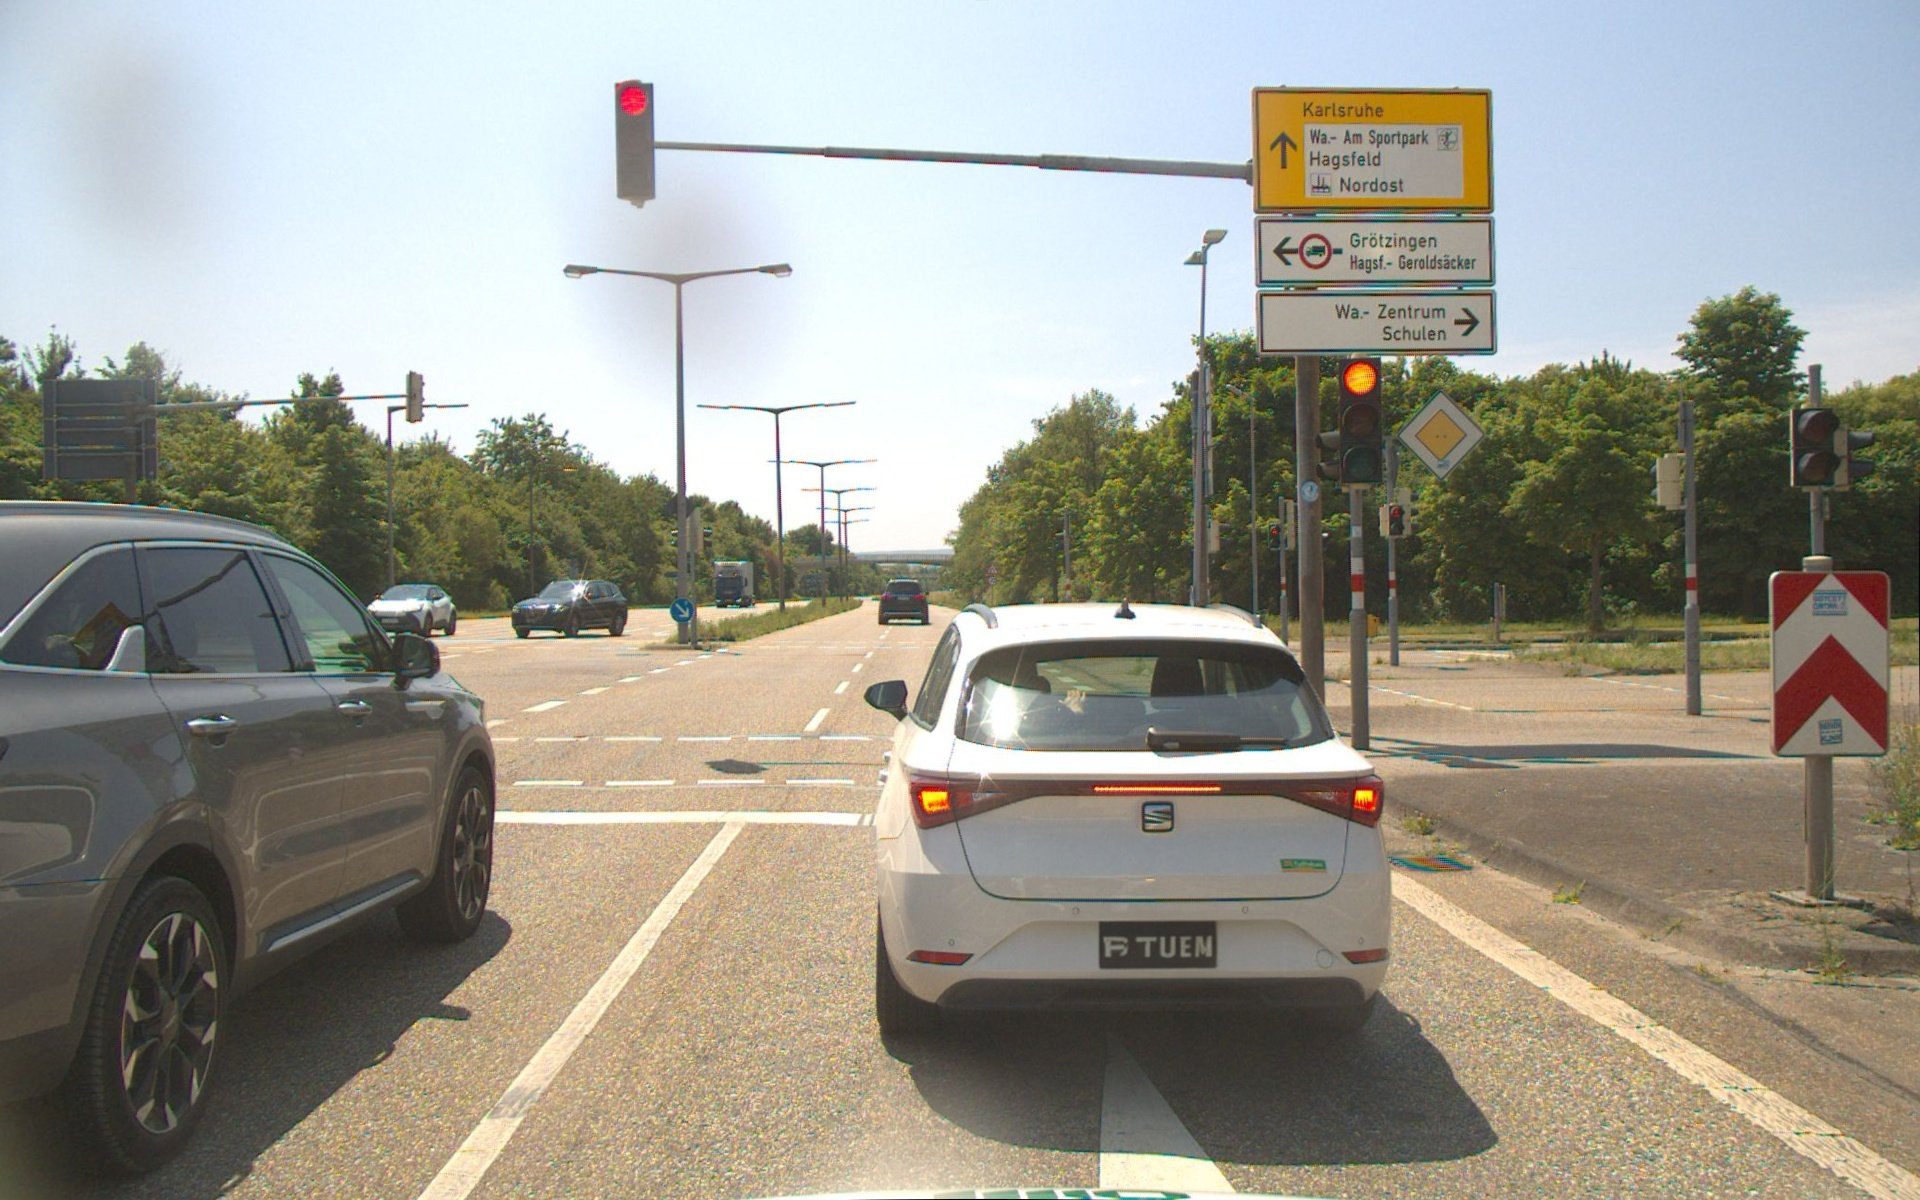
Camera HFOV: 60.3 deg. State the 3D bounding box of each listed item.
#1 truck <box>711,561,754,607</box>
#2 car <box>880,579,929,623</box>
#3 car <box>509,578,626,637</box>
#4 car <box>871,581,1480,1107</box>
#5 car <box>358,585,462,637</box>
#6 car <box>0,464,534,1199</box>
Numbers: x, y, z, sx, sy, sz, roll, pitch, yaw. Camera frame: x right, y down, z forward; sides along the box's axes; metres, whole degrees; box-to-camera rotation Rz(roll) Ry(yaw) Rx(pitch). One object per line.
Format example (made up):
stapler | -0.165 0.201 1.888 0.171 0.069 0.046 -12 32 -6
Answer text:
truck | -18.234 -1.277 133.082 2.633 3.633 7.266 0 1 -1
car | -2.274 0.021 68.755 1.816 1.738 4.001 -1 1 1
car | -11.808 0.206 50.034 1.670 1.692 4.226 -1 1 14
car | 0.585 0.696 6.501 1.699 1.453 3.693 1 0 -1
car | -16.618 0.300 50.194 1.785 1.481 4.168 -1 1 -1
car | -2.867 0.568 5.466 1.767 1.691 4.643 -1 0 -1
